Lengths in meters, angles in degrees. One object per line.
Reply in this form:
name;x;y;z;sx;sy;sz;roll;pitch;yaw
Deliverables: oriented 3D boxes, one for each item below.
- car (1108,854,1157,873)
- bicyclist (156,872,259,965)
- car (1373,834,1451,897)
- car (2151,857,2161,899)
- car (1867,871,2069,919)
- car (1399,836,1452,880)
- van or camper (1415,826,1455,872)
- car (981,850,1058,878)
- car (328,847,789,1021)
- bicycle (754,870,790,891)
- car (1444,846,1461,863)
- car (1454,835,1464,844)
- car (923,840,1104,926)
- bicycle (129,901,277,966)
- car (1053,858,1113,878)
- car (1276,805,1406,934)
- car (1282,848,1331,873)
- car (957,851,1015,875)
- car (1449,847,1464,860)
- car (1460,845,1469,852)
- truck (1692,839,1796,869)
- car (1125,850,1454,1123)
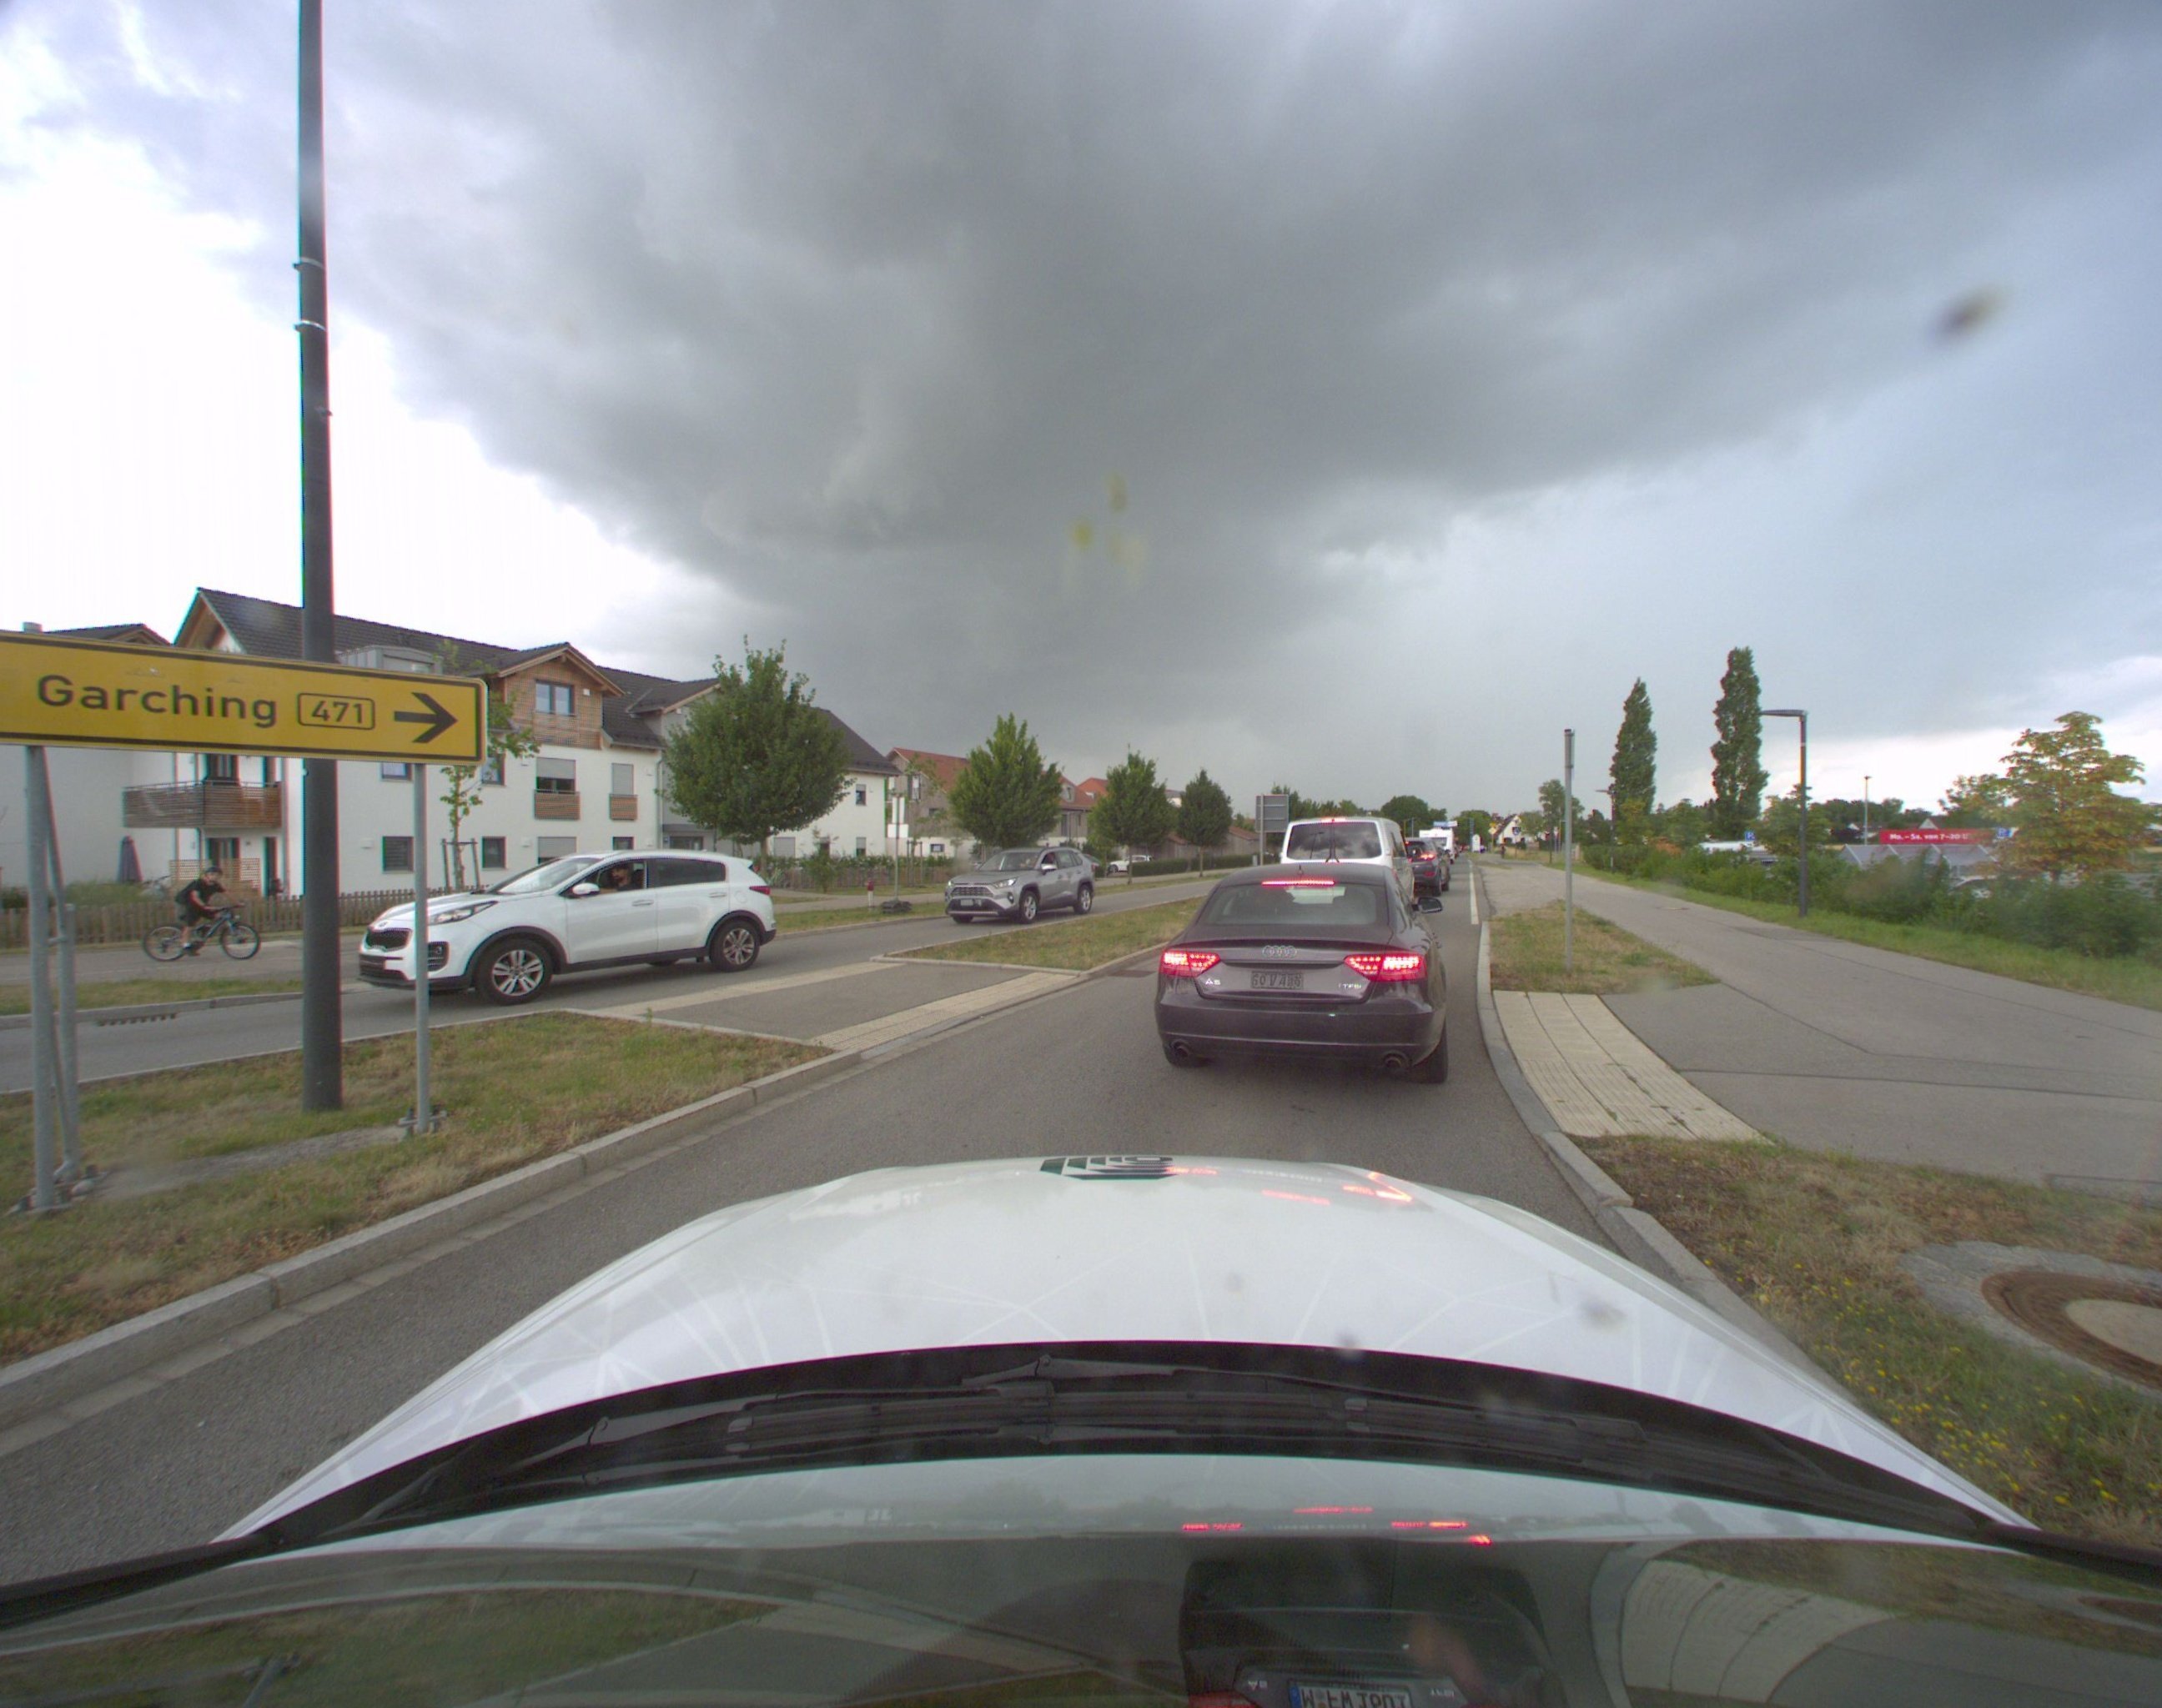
car;4.276;0.759;67.748;3.697;1.482;1.696;0;1;22
bicyclist;-14.460;1.043;13.507;0.866;1.446;0.722;-2;0;-9
car;9.620;0.291;23.477;1.760;1.618;4.024;-3;-1;26
car;45.164;0.976;31.265;4.515;1.664;2.012;0;1;25
car;29.921;1.344;27.665;4.194;1.440;2.012;0;0;25
car;13.727;0.142;32.364;1.760;1.618;4.023;-1;0;25
van or camper;27.089;-0.359;62.234;2.601;3.323;6.860;0;0;25
car;-3.932;0.596;51.587;4.487;1.680;2.012;0;1;29
car;-6.005;0.747;10.024;1.692;1.626;4.478;-1;0;30
bicycle;-13.191;1.126;34.782;0.364;0.843;1.556;3;2;27
car;41.277;0.064;90.503;1.598;1.794;4.024;0;1;26
car;91.995;-3.448;198.143;1.974;2.211;4.025;0;1;30
car;-1.380;0.577;18.744;1.975;1.704;4.662;-2;0;26
bicycle;-14.503;1.305;13.481;1.707;0.946;0.496;-2;0;-8
car;0.144;0.988;58.953;3.880;1.315;1.853;0;1;23
car;4.712;0.210;14.387;1.851;1.934;4.022;0;1;22
car;13.601;0.334;48.964;1.737;1.416;4.484;0;1;31
car;-7.098;0.648;61.192;1.974;1.772;4.493;0;0;30
car;47.474;-0.099;102.835;1.598;1.630;3.637;0;1;26
car;72.905;-1.030;154.833;1.598;1.409;3.637;0;1;26
truck;41.961;-0.016;51.704;4.755;1.872;2.010;0;0;21
car;1.908;0.698;6.475;1.768;1.391;4.155;-1;0;23
